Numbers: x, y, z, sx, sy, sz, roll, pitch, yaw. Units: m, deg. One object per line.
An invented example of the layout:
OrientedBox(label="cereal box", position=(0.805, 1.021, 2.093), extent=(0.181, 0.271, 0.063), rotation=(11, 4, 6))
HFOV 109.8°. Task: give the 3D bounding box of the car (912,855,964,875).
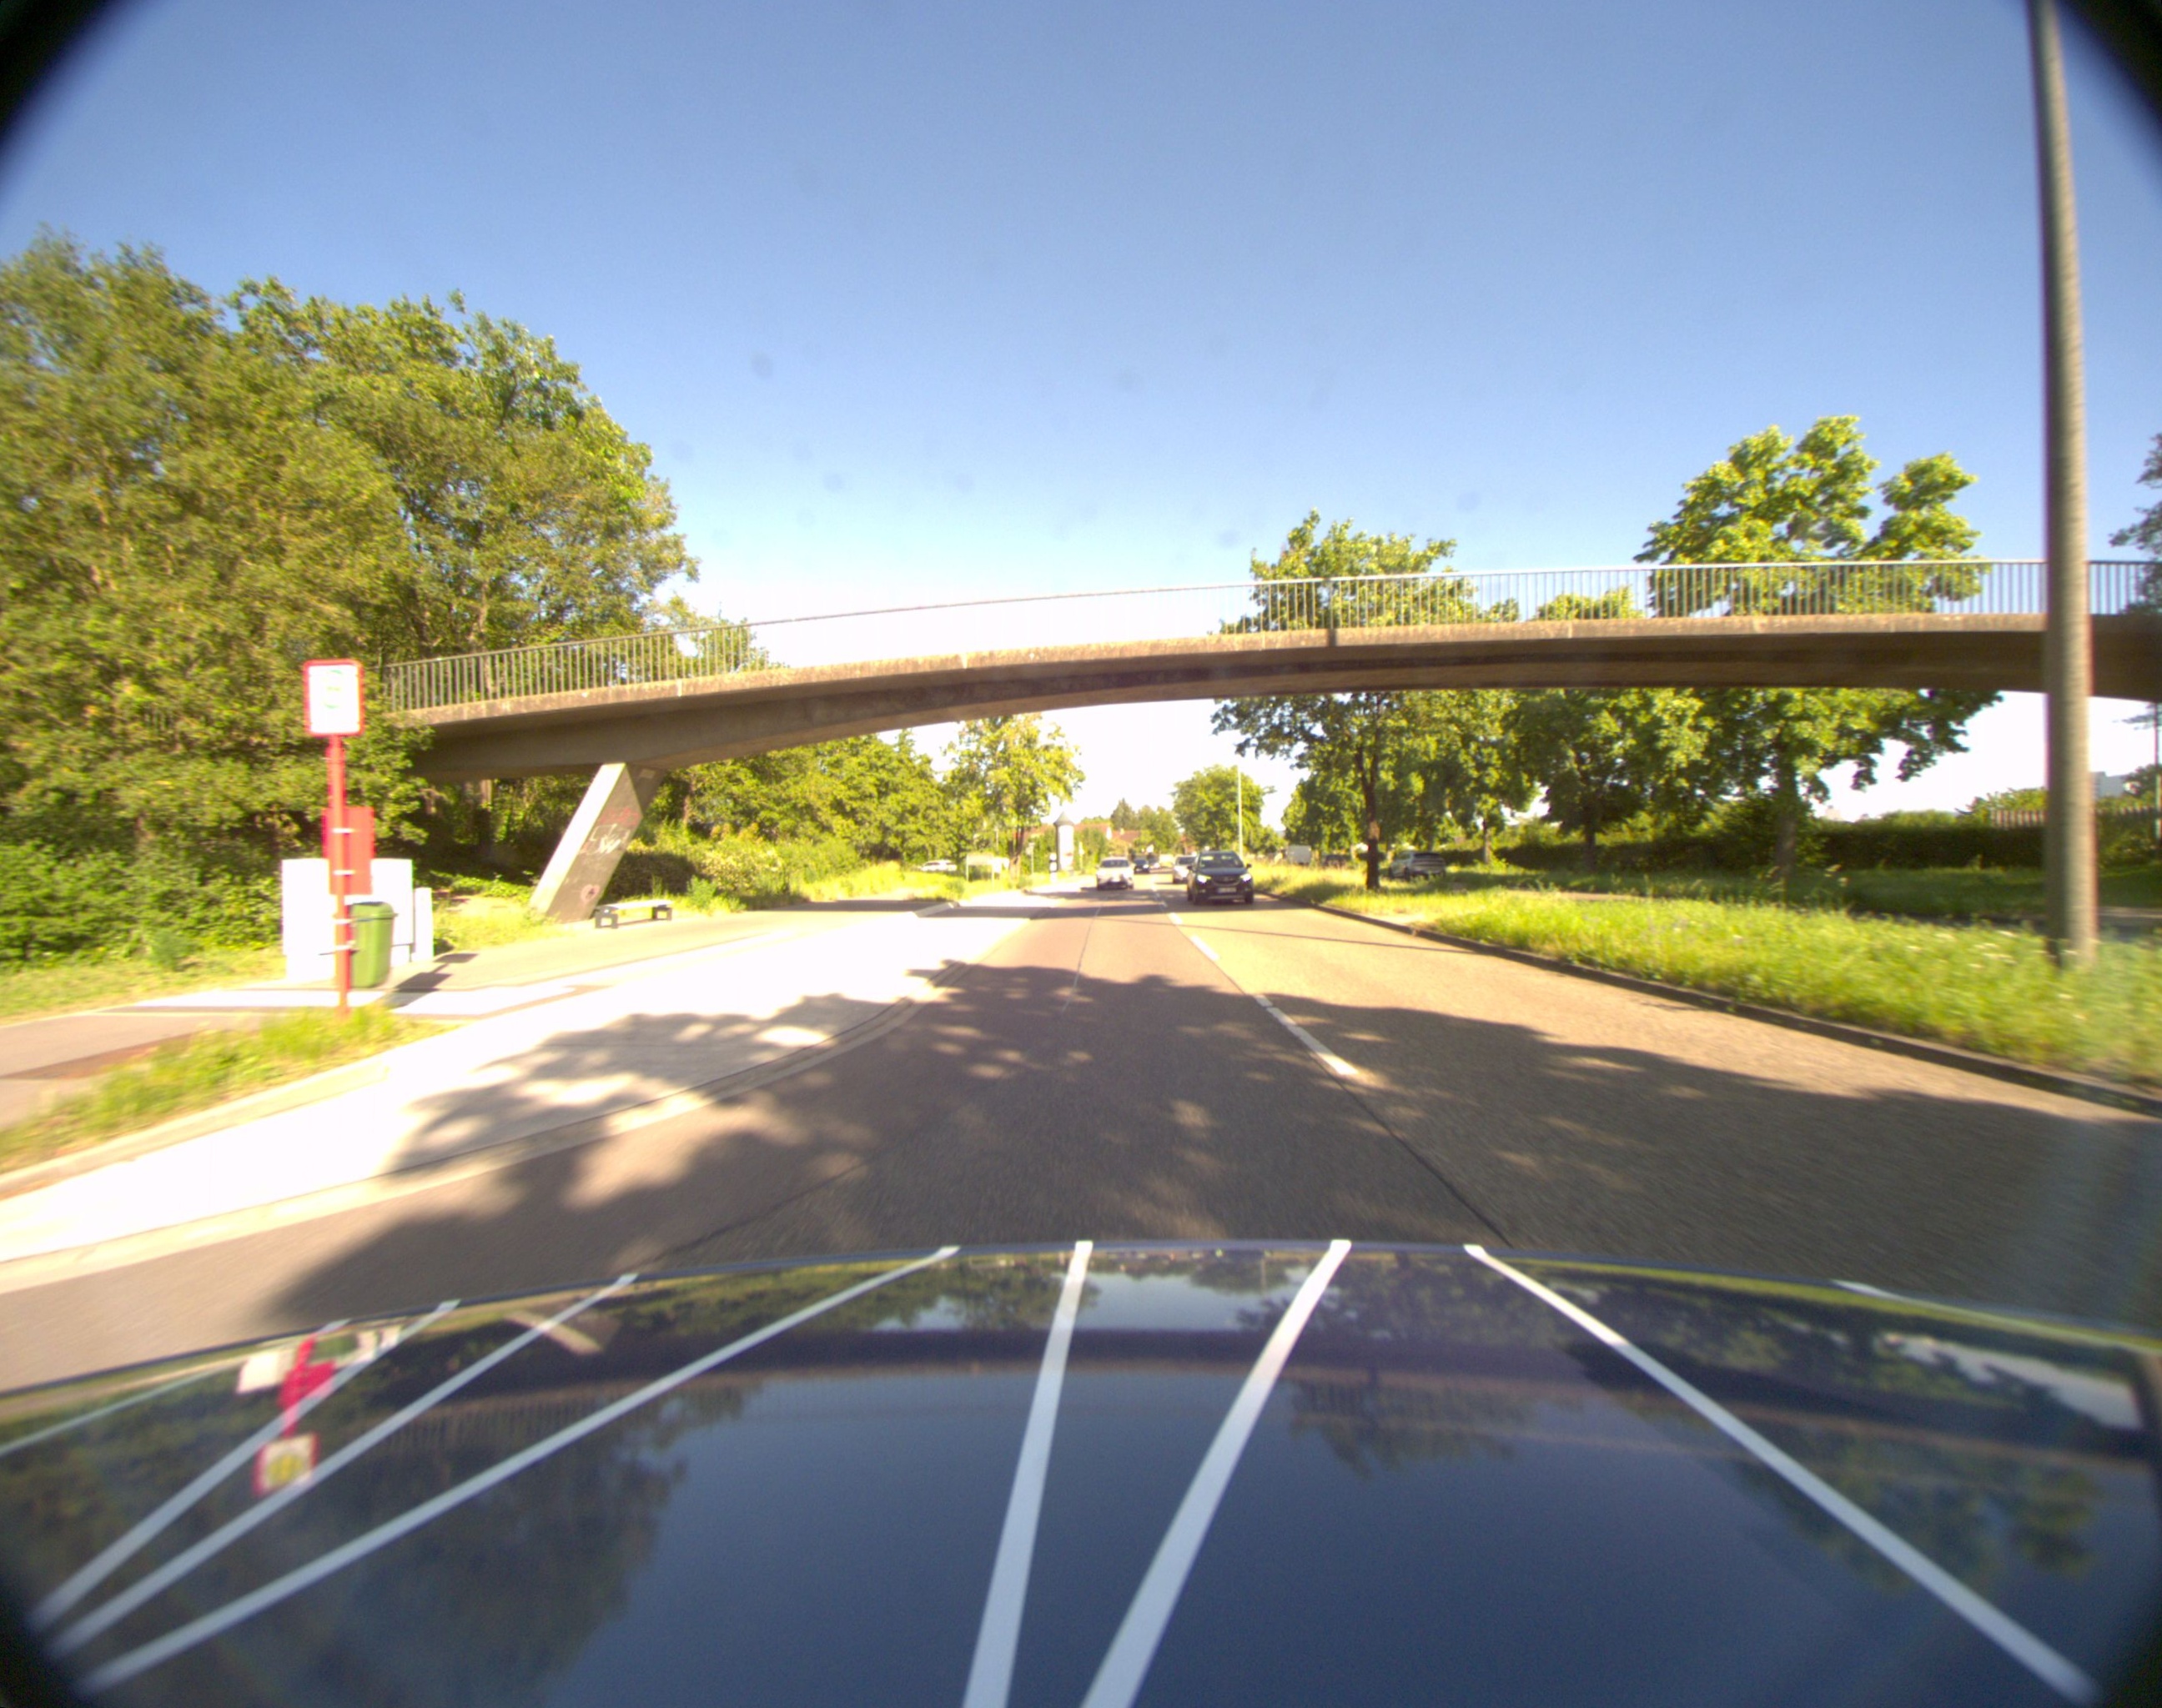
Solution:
OrientedBox(label="car", position=(-14.191, 1.115, 75.426), extent=(4.525, 1.857, 2.074), rotation=(-1, -2, 11))

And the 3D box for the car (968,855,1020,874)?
OrientedBox(label="car", position=(-8.482, 1.036, 74.497), extent=(4.638, 1.790, 1.935), rotation=(-1, -2, 11))

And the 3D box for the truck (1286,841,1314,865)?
OrientedBox(label="truck", position=(23.218, -0.115, 80.760), extent=(2.176, 2.498, 5.746), rotation=(1, 0, 9))

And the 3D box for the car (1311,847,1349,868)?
OrientedBox(label="car", position=(19.818, 0.270, 60.669), extent=(1.753, 1.610, 4.580), rotation=(-1, 0, 4))

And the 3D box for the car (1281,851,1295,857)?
OrientedBox(label="car", position=(53.036, 0.004, 194.246), extent=(1.693, 1.428, 4.951), rotation=(1, 1, 38))

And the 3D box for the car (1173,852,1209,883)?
OrientedBox(label="car", position=(6.165, 0.716, 42.607), extent=(1.822, 1.553, 4.649), rotation=(-2, 0, 8))

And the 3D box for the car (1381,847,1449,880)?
OrientedBox(label="car", position=(17.875, 0.475, 40.901), extent=(1.735, 1.637, 4.901), rotation=(0, 0, 3))

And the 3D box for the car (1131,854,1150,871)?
OrientedBox(label="car", position=(5.965, 0.812, 76.060), extent=(1.823, 1.553, 4.274), rotation=(-2, 1, 6))

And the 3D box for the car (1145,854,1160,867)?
OrientedBox(label="car", position=(9.238, 0.828, 98.237), extent=(1.823, 1.587, 4.274), rotation=(-2, 0, 6))

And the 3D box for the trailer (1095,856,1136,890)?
OrientedBox(label="trailer", position=(1.793, 0.931, 38.778), extent=(1.897, 1.585, 4.002), rotation=(-3, -1, 4))

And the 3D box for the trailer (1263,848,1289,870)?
OrientedBox(label="trailer", position=(18.186, 0.466, 71.152), extent=(1.566, 1.899, 4.283), rotation=(-1, 0, 4))

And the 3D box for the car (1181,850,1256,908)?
OrientedBox(label="car", position=(4.311, 0.724, 24.368), extent=(1.810, 1.605, 4.515), rotation=(-2, 1, 4))
